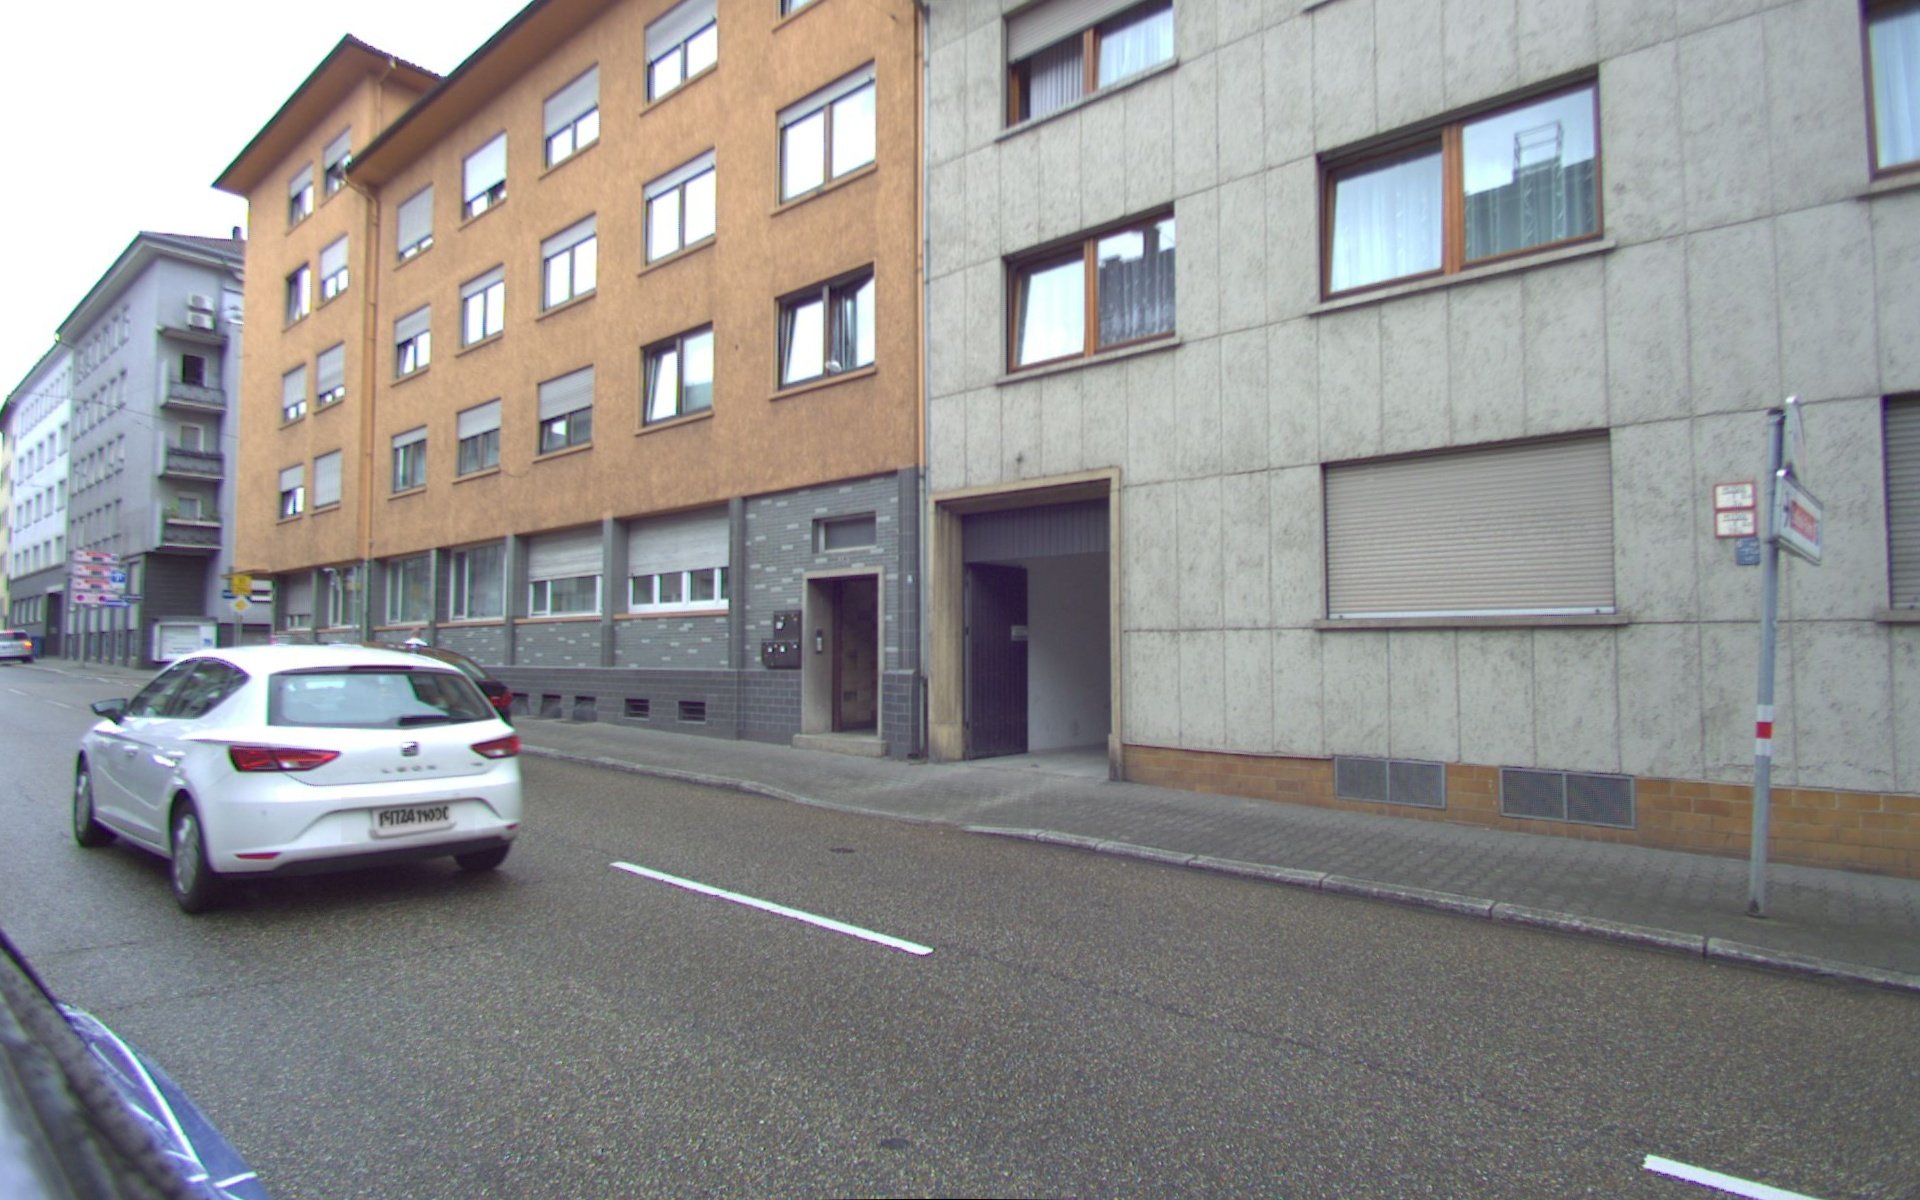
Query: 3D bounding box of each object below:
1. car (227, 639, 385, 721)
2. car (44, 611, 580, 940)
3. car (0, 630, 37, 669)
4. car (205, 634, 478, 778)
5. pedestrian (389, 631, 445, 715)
[{"bbox_3d":[-14.215,1.646,21.907,4.216,1.485,1.776,-1,0,41],"label":"car"},{"bbox_3d":[-4.472,0.899,6.768,4.048,1.551,1.727,0,-4,38],"label":"car"},{"bbox_3d":[-46.442,2.379,49.242,4.216,1.735,1.832,-1,0,41],"label":"car"},{"bbox_3d":[-8.369,1.334,13.532,4.433,1.551,1.677,-1,-6,40],"label":"car"},{"bbox_3d":[-11.333,1.495,21.106,0.757,1.652,1.024,-1,0,-44],"label":"pedestrian"}]
